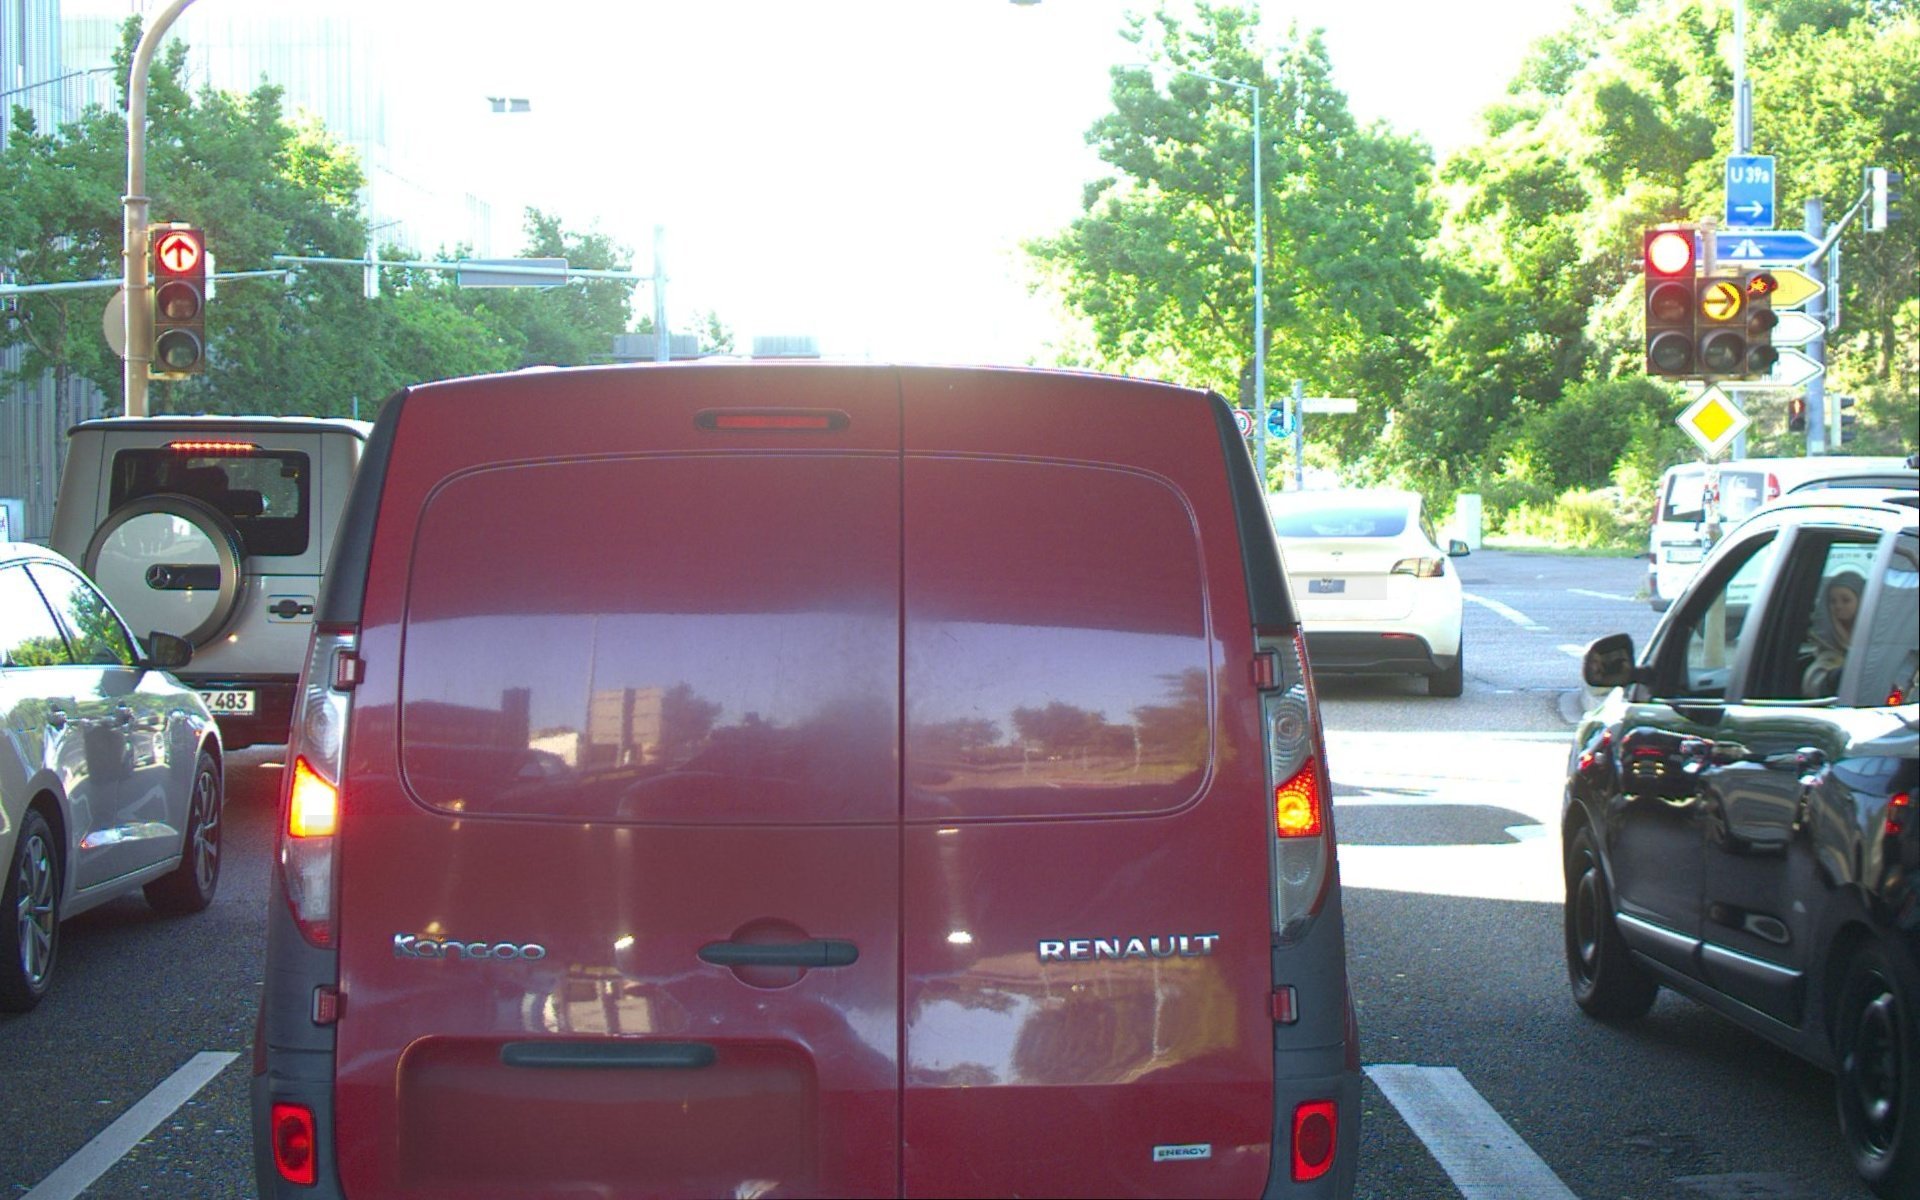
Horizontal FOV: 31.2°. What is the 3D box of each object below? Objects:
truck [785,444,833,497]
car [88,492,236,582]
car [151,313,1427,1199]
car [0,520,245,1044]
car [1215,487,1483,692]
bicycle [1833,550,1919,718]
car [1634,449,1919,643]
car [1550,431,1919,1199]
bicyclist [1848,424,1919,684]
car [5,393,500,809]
[{"bbox_3d":[-8.979,-7.703,204.760,2.409,3.016,6.657,-2,2,0],"label":"truck"},{"bbox_3d":[-16.567,-1.341,71.610,1.825,1.731,4.629,-2,2,1],"label":"car"},{"bbox_3d":[-0.270,0.478,6.913,1.805,1.788,4.000,1,1,-1],"label":"car"},{"bbox_3d":[-3.637,0.471,11.396,1.813,1.433,3.731,0,2,-1],"label":"car"},{"bbox_3d":[3.076,-0.118,27.900,1.881,1.538,4.193,0,1,3],"label":"car"},{"bbox_3d":[6.058,0.199,21.751,0.591,1.020,1.750,1,1,-1],"label":"bicycle"},{"bbox_3d":[9.265,-0.557,35.251,4.637,1.879,1.887,-1,1,-34],"label":"car"},{"bbox_3d":[2.764,0.475,8.724,1.719,1.700,3.982,0,1,-2],"label":"car"},{"bbox_3d":[6.050,-0.287,21.742,0.591,1.608,0.942,1,0,-1],"label":"bicyclist"},{"bbox_3d":[-3.718,-0.019,18.871,1.801,1.982,4.589,1,1,-1],"label":"car"}]
